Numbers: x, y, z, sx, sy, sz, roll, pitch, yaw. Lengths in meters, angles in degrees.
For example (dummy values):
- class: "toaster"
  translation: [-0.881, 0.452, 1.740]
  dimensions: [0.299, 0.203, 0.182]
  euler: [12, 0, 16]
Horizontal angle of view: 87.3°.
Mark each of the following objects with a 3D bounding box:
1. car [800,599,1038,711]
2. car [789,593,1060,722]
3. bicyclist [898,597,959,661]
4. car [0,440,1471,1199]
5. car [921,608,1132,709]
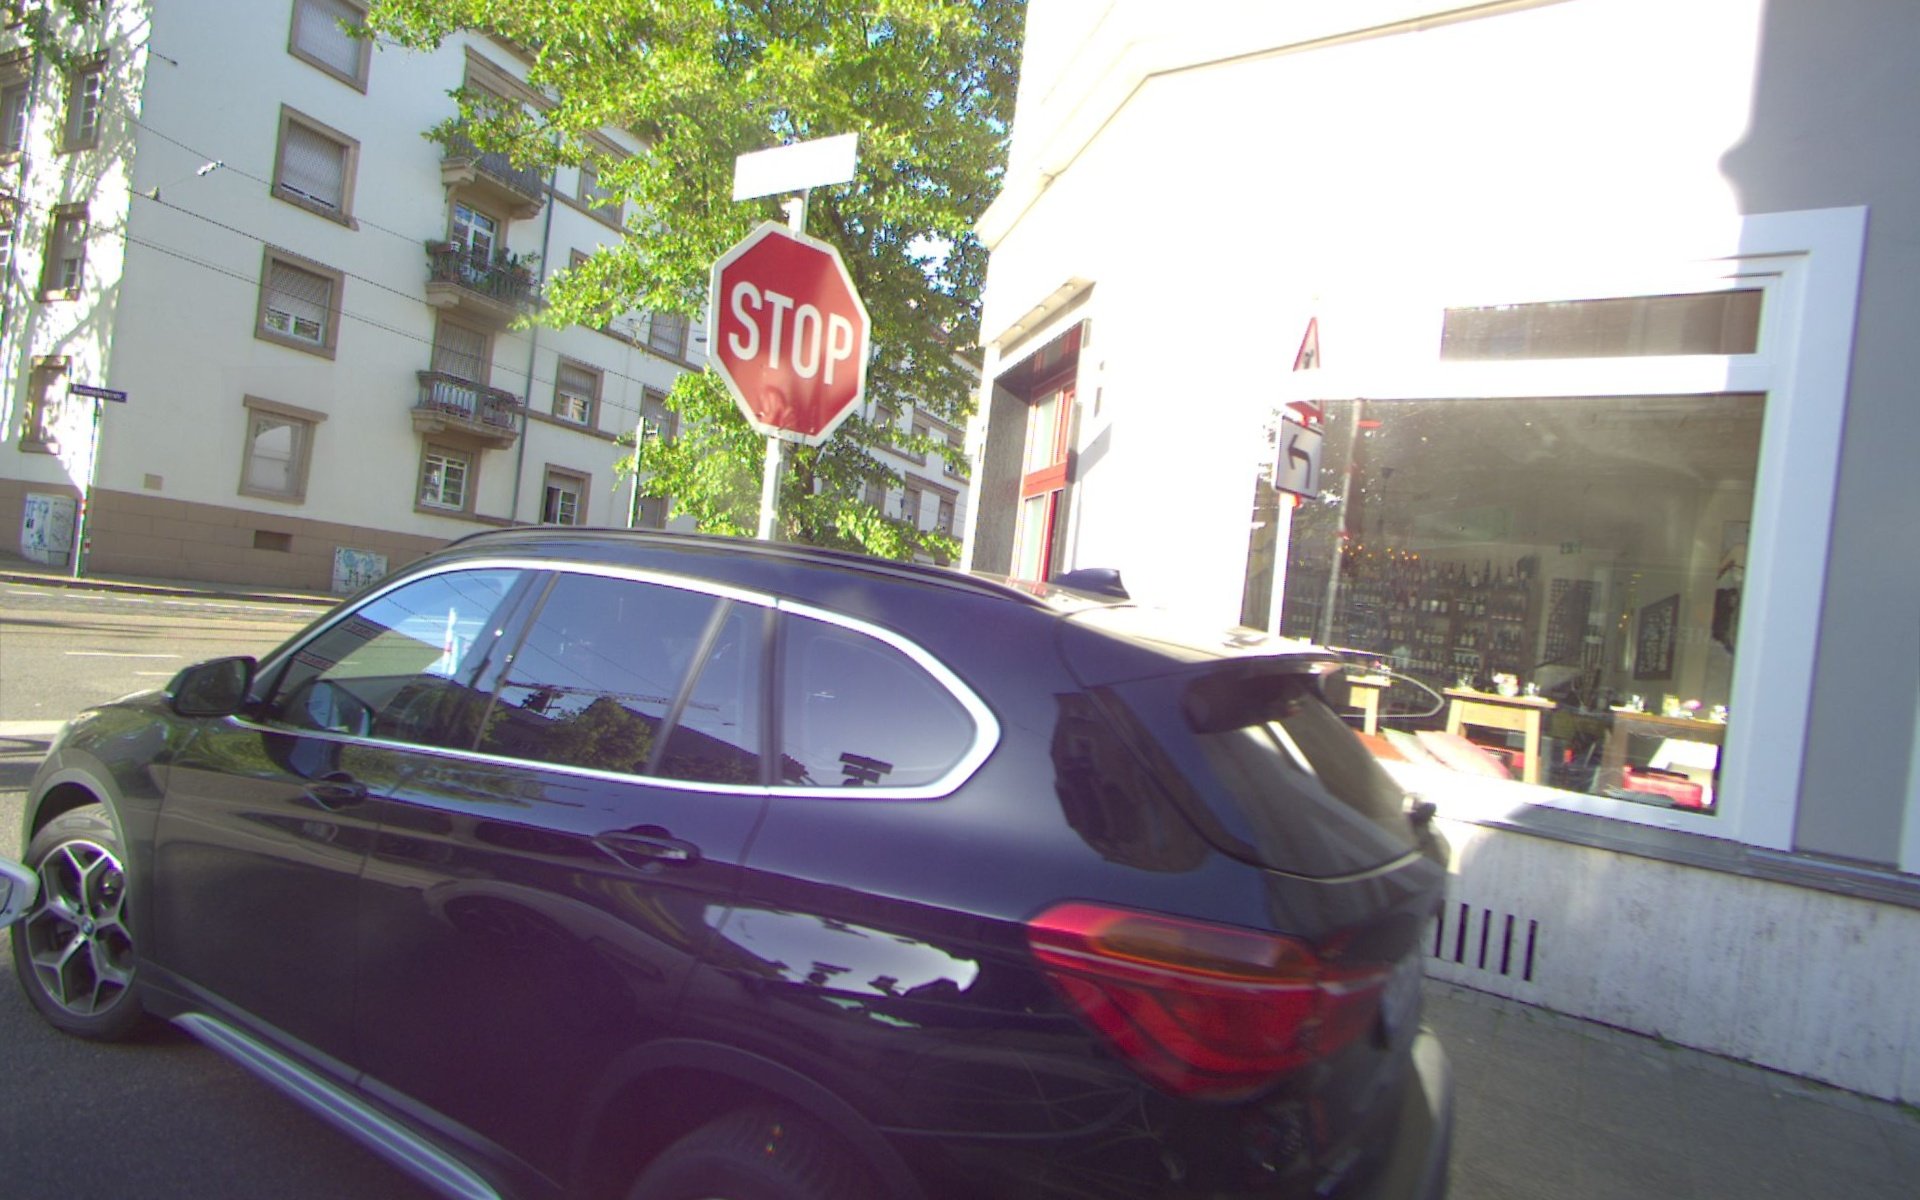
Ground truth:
- class: "car"
  translation: [-0.777, 0.981, 18.486]
  dimensions: [4.062, 1.575, 1.618]
  euler: [6, 0, -6]
- class: "car"
  translation: [-0.528, 0.898, 16.287]
  dimensions: [4.057, 1.575, 1.620]
  euler: [6, 0, 2]
- class: "bicyclist"
  translation: [-0.792, 0.754, 25.610]
  dimensions: [0.886, 1.471, 1.262]
  euler: [7, 0, 26]
- class: "car"
  translation: [-0.994, 0.621, 2.887]
  dimensions: [4.128, 1.681, 1.764]
  euler: [7, -2, 32]
- class: "car"
  translation: [1.382, 1.170, 20.751]
  dimensions: [4.056, 1.575, 1.621]
  euler: [6, 0, 7]
